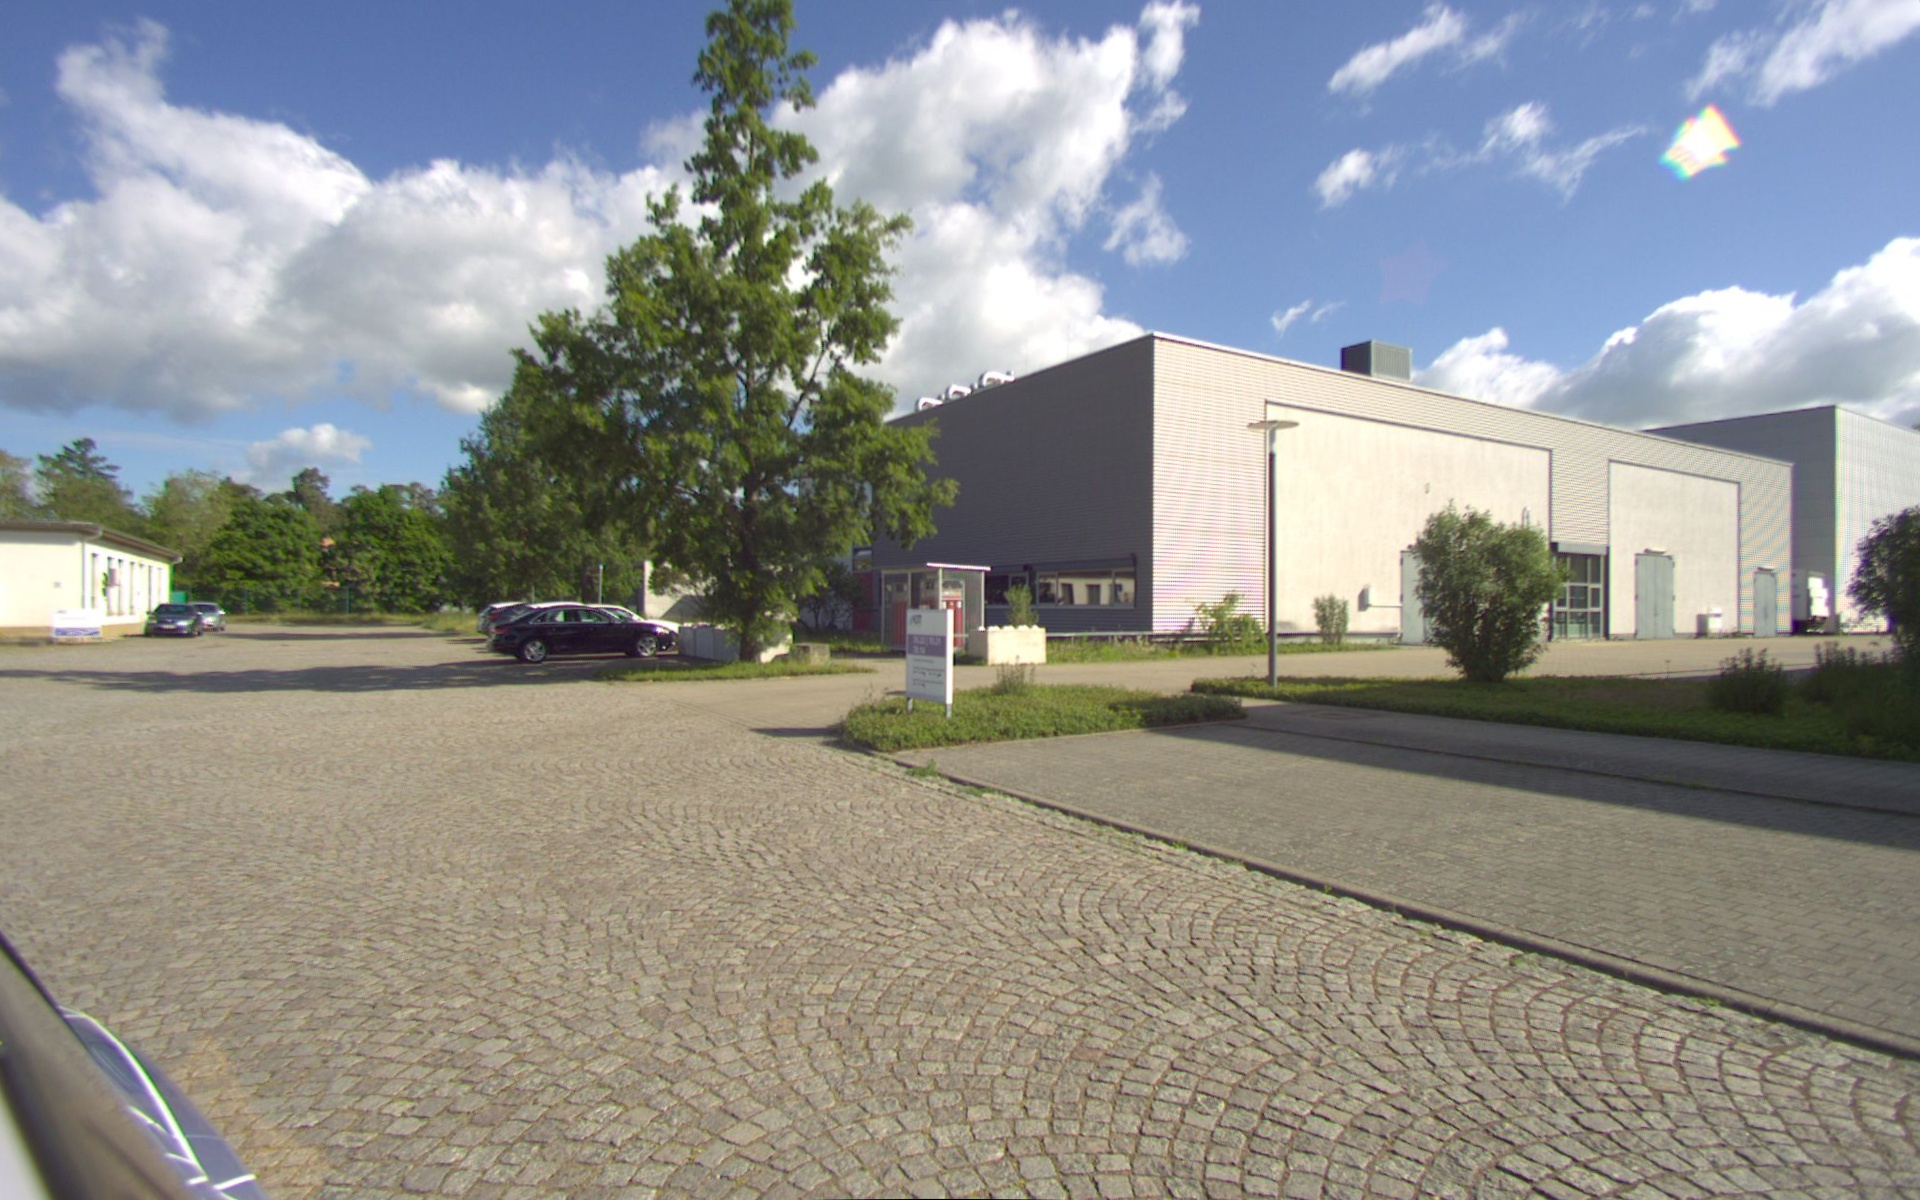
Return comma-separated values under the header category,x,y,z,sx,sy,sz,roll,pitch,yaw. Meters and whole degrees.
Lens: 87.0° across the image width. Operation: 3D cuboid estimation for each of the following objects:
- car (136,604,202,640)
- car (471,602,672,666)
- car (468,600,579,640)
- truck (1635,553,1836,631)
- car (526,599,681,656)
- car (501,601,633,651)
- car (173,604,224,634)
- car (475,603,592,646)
category,x,y,z,sx,sy,sz,roll,pitch,yaw
car,-33.858,0.924,43.395,1.739,1.446,4.004,1,-1,-31
car,-10.177,0.842,26.665,4.654,1.434,1.762,-2,1,-33
car,-17.475,0.774,40.546,3.858,1.446,1.801,-2,1,-31
truck,41.231,-0.349,54.196,2.605,3.847,8.127,0,-1,-31
car,-10.426,0.764,29.641,4.080,1.471,1.697,-2,1,-27
car,-13.185,0.834,33.962,3.858,1.457,1.761,-2,1,-31
car,-39.188,0.954,52.154,1.663,1.446,3.998,1,-1,-31
car,-16.119,0.899,38.254,3.858,1.428,1.697,-2,1,-31
